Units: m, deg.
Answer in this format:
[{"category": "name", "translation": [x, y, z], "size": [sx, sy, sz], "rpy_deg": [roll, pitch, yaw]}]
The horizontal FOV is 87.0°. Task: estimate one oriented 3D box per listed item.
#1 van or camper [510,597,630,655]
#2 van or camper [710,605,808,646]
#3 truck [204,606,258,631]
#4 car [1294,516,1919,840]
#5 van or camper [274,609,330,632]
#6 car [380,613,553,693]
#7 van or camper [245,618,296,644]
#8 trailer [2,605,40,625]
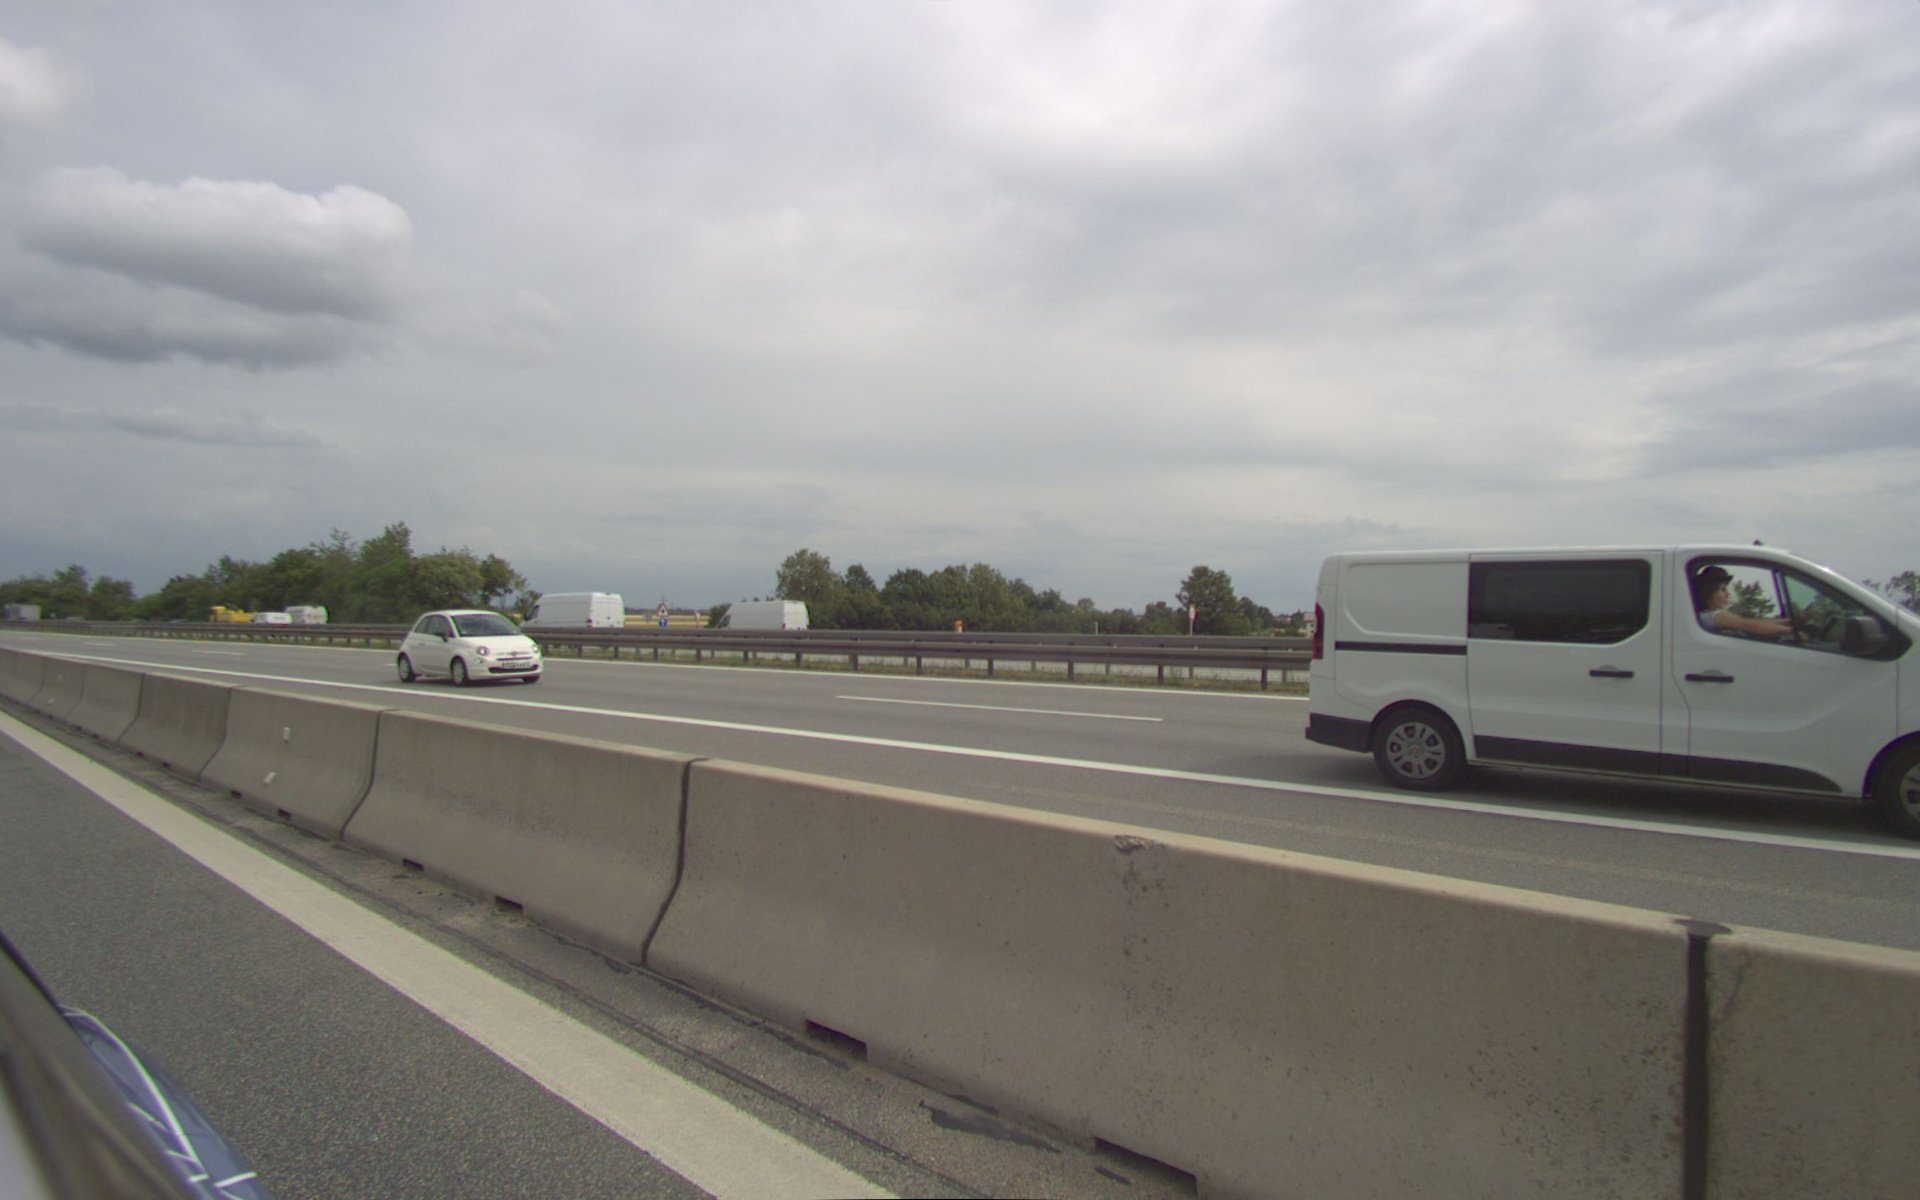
[{"category": "van or camper", "translation": [-18.870, 1.225, 48.736], "size": [6.895, 2.639, 2.166], "rpy_deg": [-1, -1, 38]}, {"category": "van or camper", "translation": [-11.299, 1.401, 56.667], "size": [5.800, 2.188, 2.166], "rpy_deg": [-1, -1, 37]}, {"category": "truck", "translation": [-83.620, 2.114, 115.968], "size": [8.772, 2.795, 2.878], "rpy_deg": [-1, -1, 39]}, {"category": "car", "translation": [5.410, 0.471, 7.650], "size": [5.125, 1.952, 1.981], "rpy_deg": [-1, 0, 38]}, {"category": "van or camper", "translation": [-60.168, 1.878, 92.507], "size": [6.266, 2.029, 2.215], "rpy_deg": [-1, -1, 36]}, {"category": "car", "translation": [-10.143, 1.015, 20.725], "size": [3.768, 1.496, 1.665], "rpy_deg": [-1, -1, 37]}, {"category": "van or camper", "translation": [-50.394, 2.220, 73.912], "size": [4.343, 1.842, 1.974], "rpy_deg": [-1, -1, 39]}, {"category": "trailer", "translation": [-155.930, 2.494, 168.029], "size": [9.810, 3.294, 3.167], "rpy_deg": [-1, -1, 38]}]
